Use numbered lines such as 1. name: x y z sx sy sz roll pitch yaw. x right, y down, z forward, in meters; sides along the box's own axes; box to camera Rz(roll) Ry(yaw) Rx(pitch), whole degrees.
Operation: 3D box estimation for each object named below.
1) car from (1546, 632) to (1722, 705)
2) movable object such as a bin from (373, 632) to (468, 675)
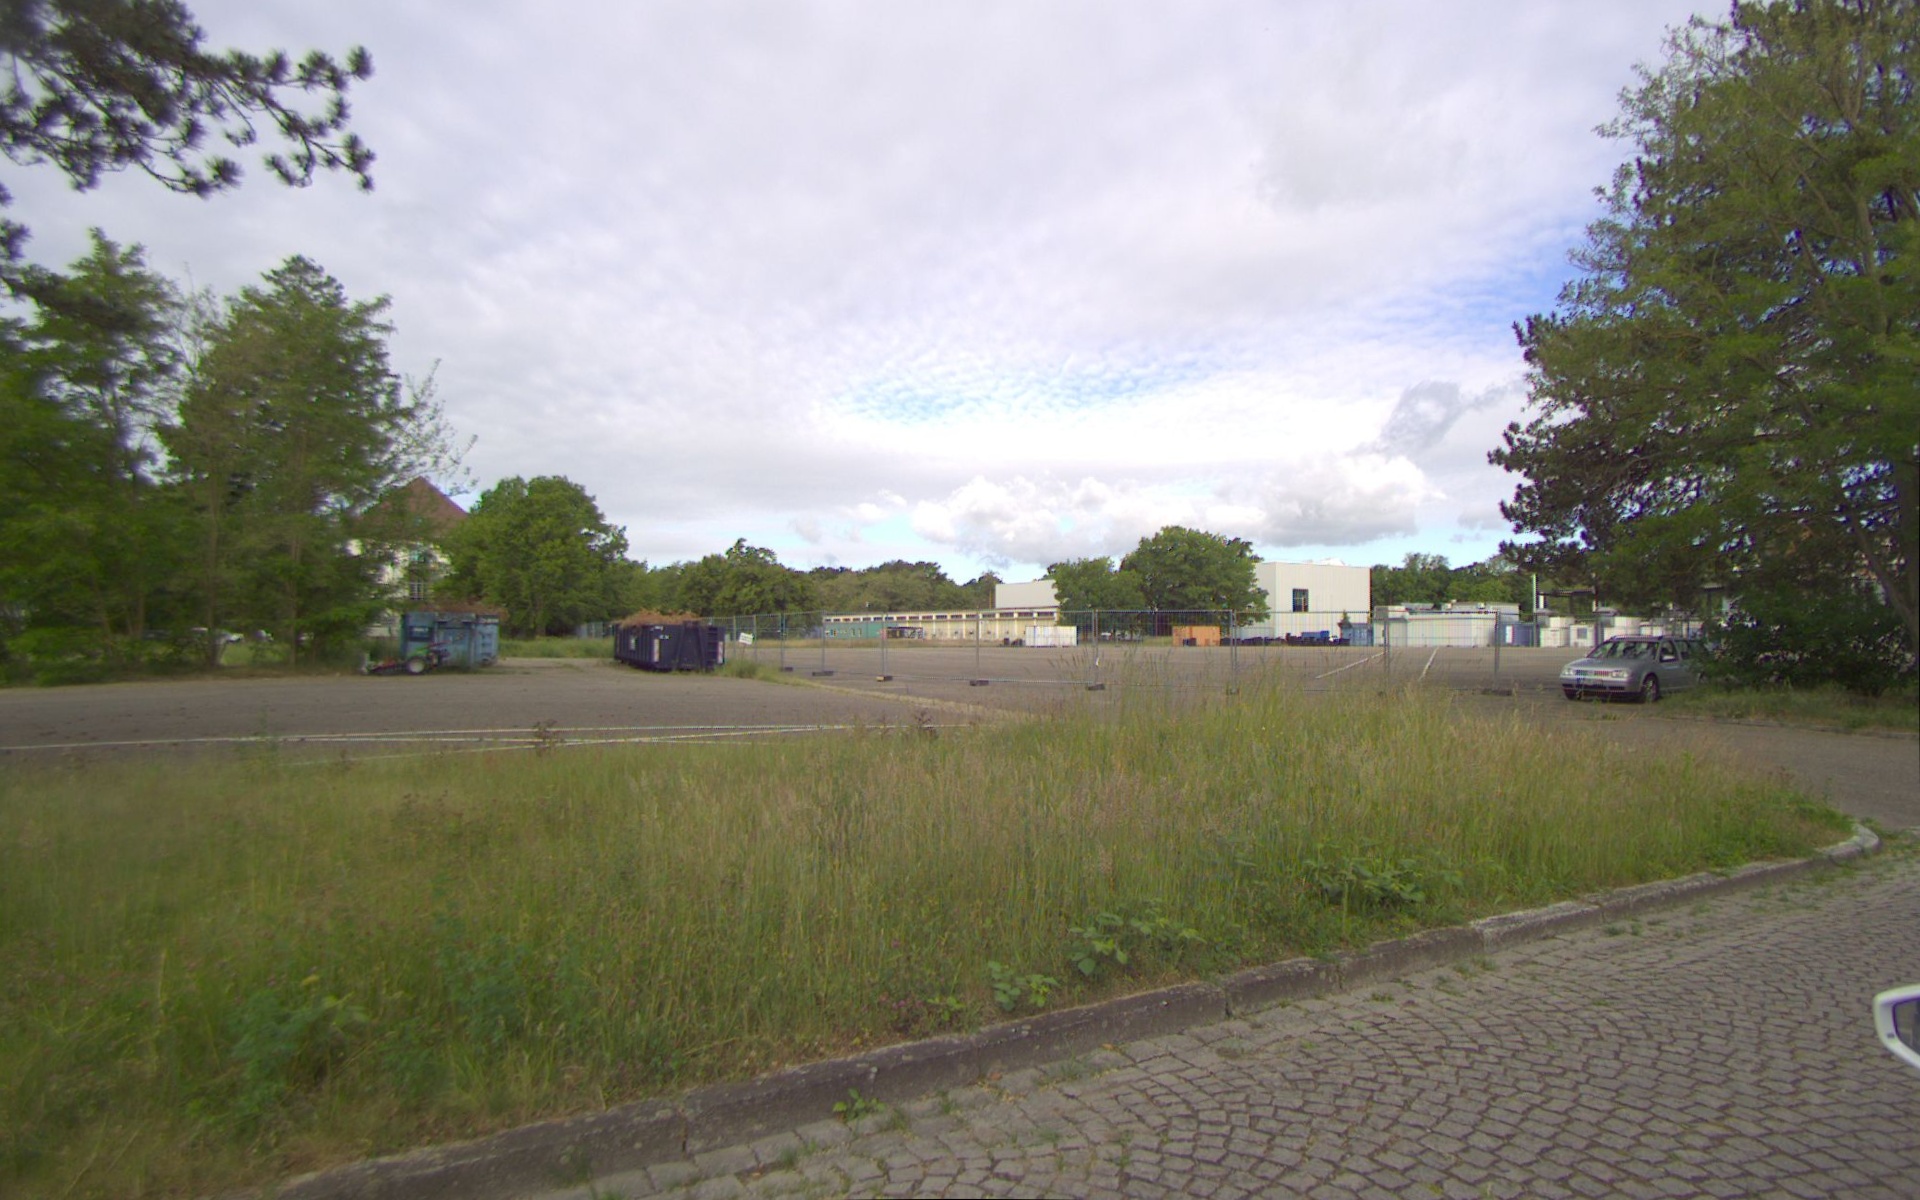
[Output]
1. car: 15.441 1.502 22.971 4.112 1.451 1.722 0 -1 -30
2. movable object such as a bin: -14.801 1.461 27.600 2.242 1.140 0.852 2 -2 -31
